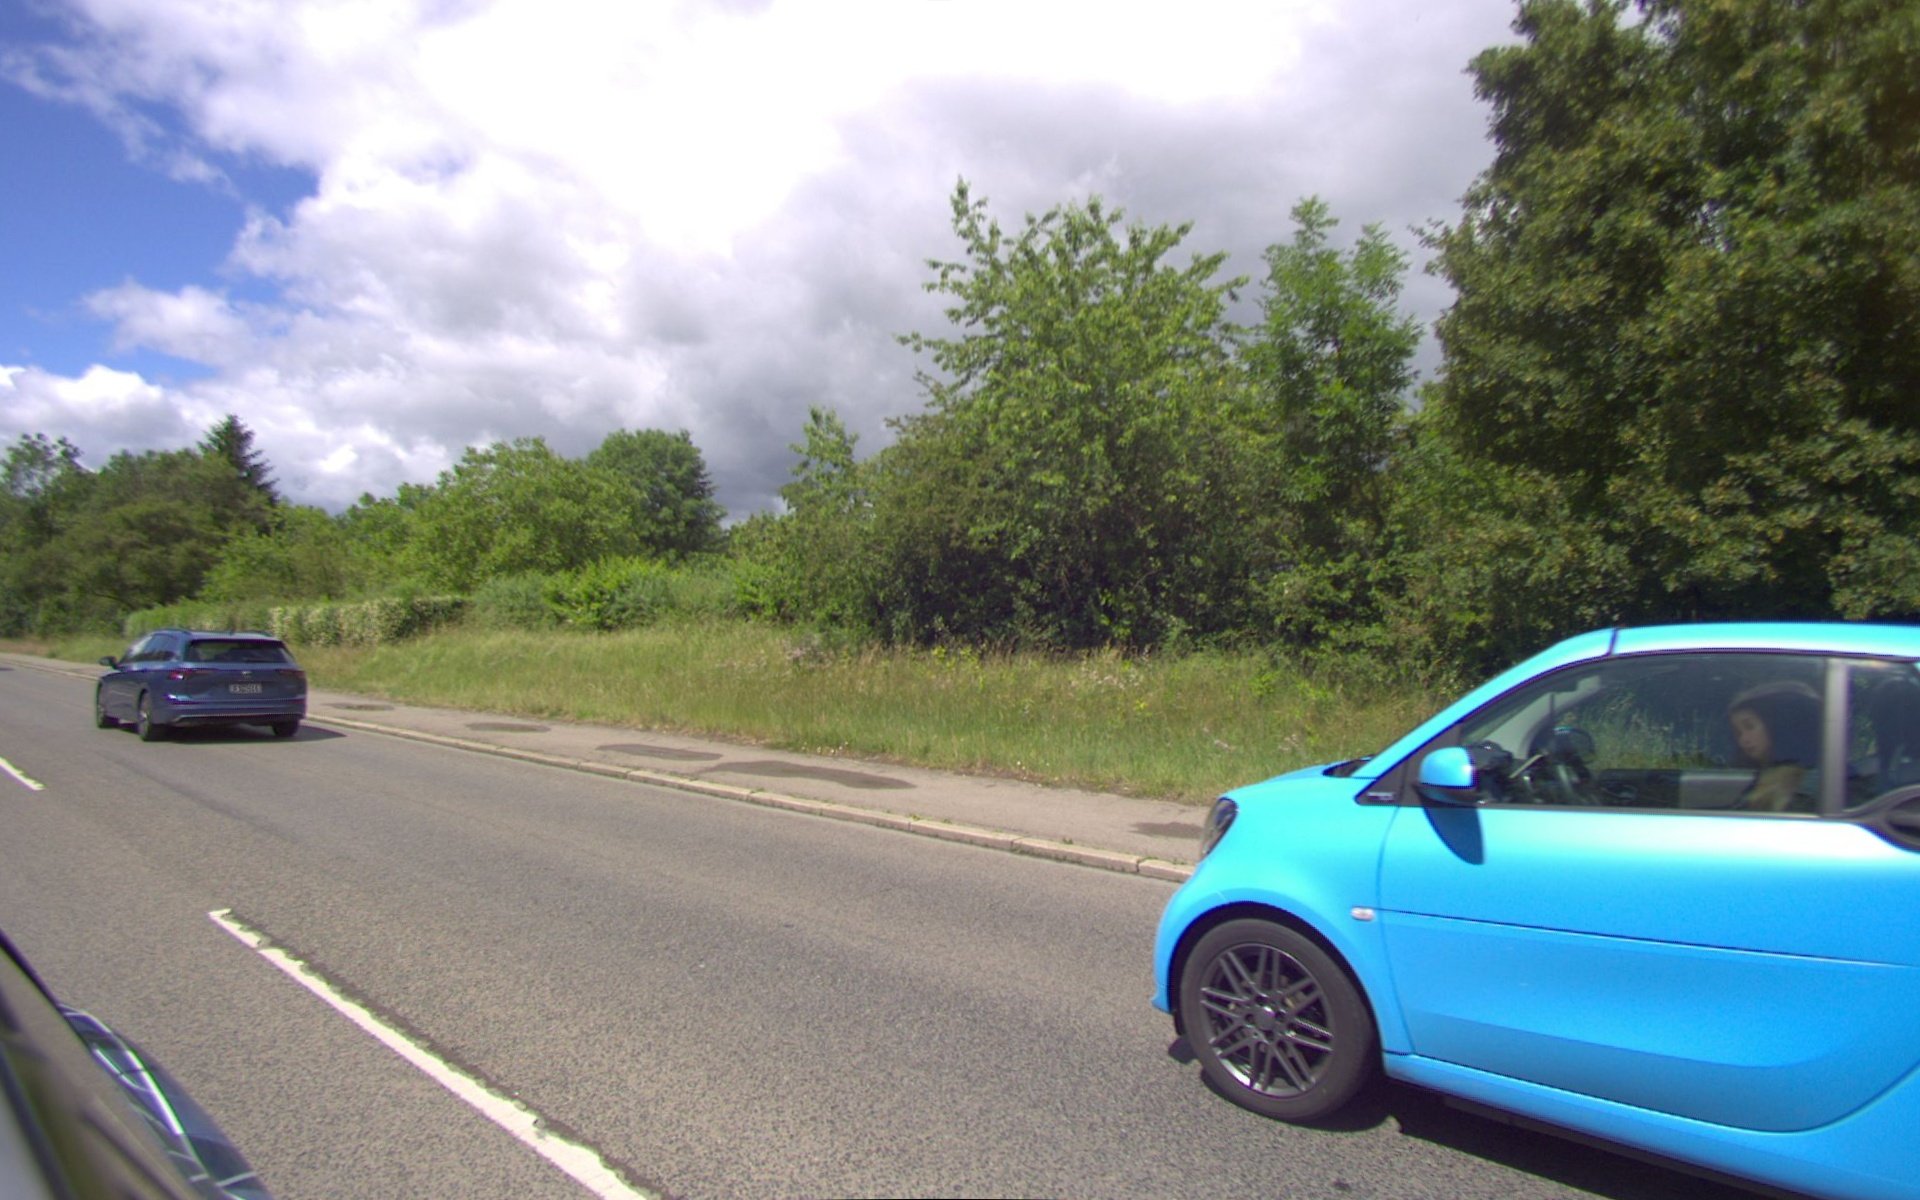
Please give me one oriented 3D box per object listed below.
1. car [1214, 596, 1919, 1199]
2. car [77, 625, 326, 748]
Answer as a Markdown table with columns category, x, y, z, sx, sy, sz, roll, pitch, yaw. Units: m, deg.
| category | x | y | z | sx | sy | sz | roll | pitch | yaw |
| --- | --- | --- | --- | --- | --- | --- | --- | --- | --- |
| car | 2.461 | 0.773 | 2.786 | 2.964 | 1.458 | 1.766 | -2 | -4 | 40 |
| car | -10.712 | 1.127 | 14.177 | 4.448 | 1.458 | 1.766 | -2 | -4 | 40 |
